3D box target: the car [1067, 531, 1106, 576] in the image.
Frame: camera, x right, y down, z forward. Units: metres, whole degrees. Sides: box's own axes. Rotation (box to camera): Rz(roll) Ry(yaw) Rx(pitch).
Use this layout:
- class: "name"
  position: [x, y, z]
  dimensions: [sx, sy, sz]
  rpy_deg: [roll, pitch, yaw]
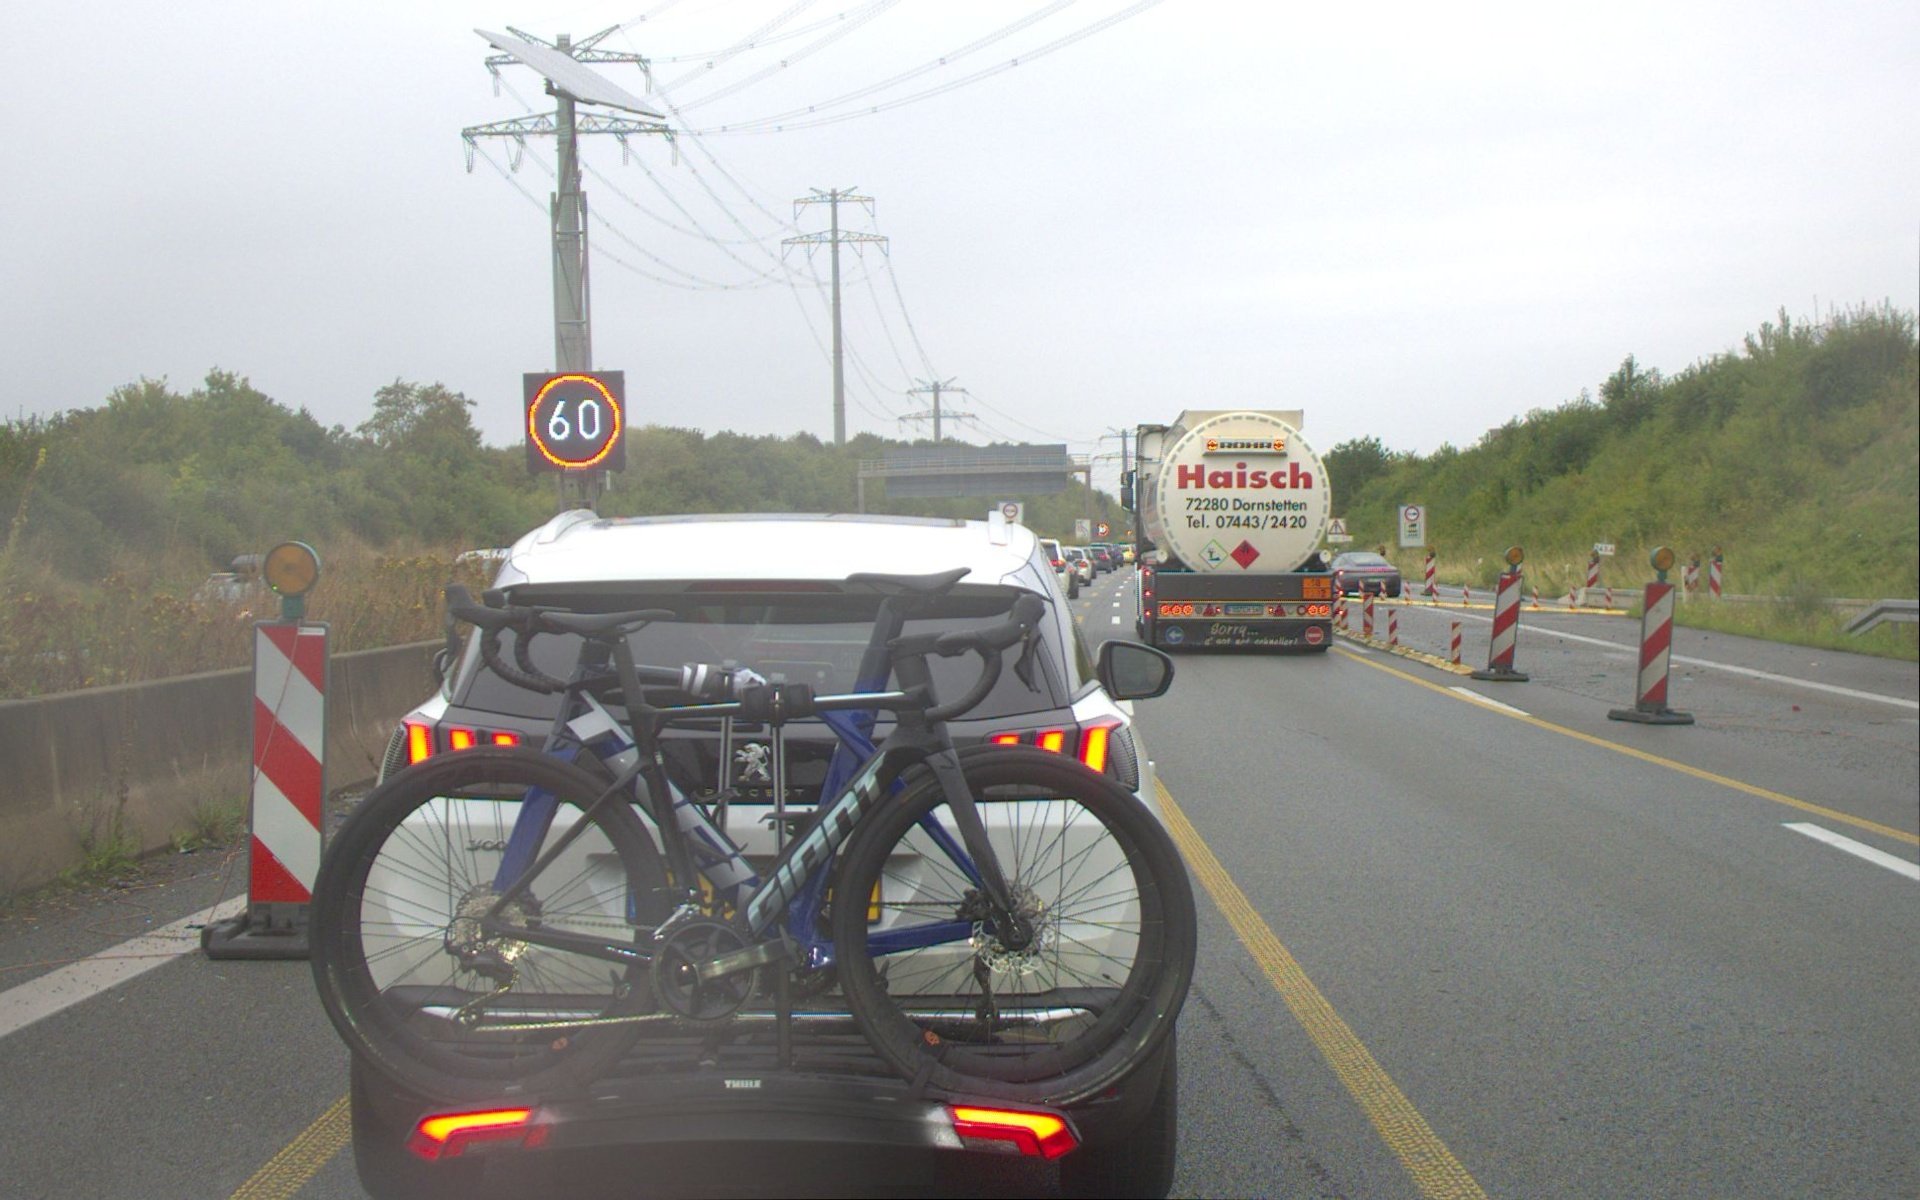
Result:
- class: "car"
  position: [5.717, -2.106, 155.241]
  dimensions: [1.654, 2.007, 4.000]
  rpy_deg: [0, 1, 3]

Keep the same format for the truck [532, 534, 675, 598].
- class: "truck"
  position: [-14.435, -1.389, 139.700]
  dimensions: [1.997, 2.419, 6.421]
  rpy_deg: [0, 2, 35]

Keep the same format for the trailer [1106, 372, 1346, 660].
- class: "trailer"
  position: [3.846, -1.176, 52.099]
  dimensions: [2.637, 3.880, 10.544]
  rpy_deg: [1, 0, -1]

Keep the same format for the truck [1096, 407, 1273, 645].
- class: "truck"
  position: [3.776, -1.233, 58.626]
  dimensions: [2.644, 3.877, 4.030]
  rpy_deg: [1, 0, -1]

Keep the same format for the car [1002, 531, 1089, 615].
- class: "car"
  position: [2.096, -0.663, 85.546]
  dimensions: [1.993, 2.007, 4.000]
  rpy_deg: [1, 0, -1]

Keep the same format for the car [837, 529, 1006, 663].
- class: "car"
  position: [-0.478, -0.090, 42.673]
  dimensions: [1.993, 1.578, 4.000]
  rpy_deg: [0, 1, -1]

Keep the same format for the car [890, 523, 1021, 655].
- class: "car"
  position: [-0.096, -0.209, 55.603]
  dimensions: [1.993, 2.007, 4.000]
  rpy_deg: [-2, 1, -1]

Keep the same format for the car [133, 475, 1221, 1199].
- class: "car"
  position: [-0.439, 0.545, 8.386]
  dimensions: [1.928, 1.605, 4.595]
  rpy_deg: [0, 1, 2]

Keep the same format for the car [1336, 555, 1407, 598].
- class: "car"
  position: [11.715, -0.672, 98.134]
  dimensions: [1.482, 1.157, 3.907]
  rpy_deg: [-1, 0, -1]

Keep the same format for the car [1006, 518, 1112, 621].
- class: "car"
  position: [2.010, -0.656, 70.922]
  dimensions: [1.993, 2.006, 4.000]
  rpy_deg: [-1, 2, -1]

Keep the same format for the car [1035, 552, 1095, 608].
- class: "car"
  position: [3.828, -0.738, 126.008]
  dimensions: [1.993, 2.007, 4.000]
  rpy_deg: [1, 0, -1]
